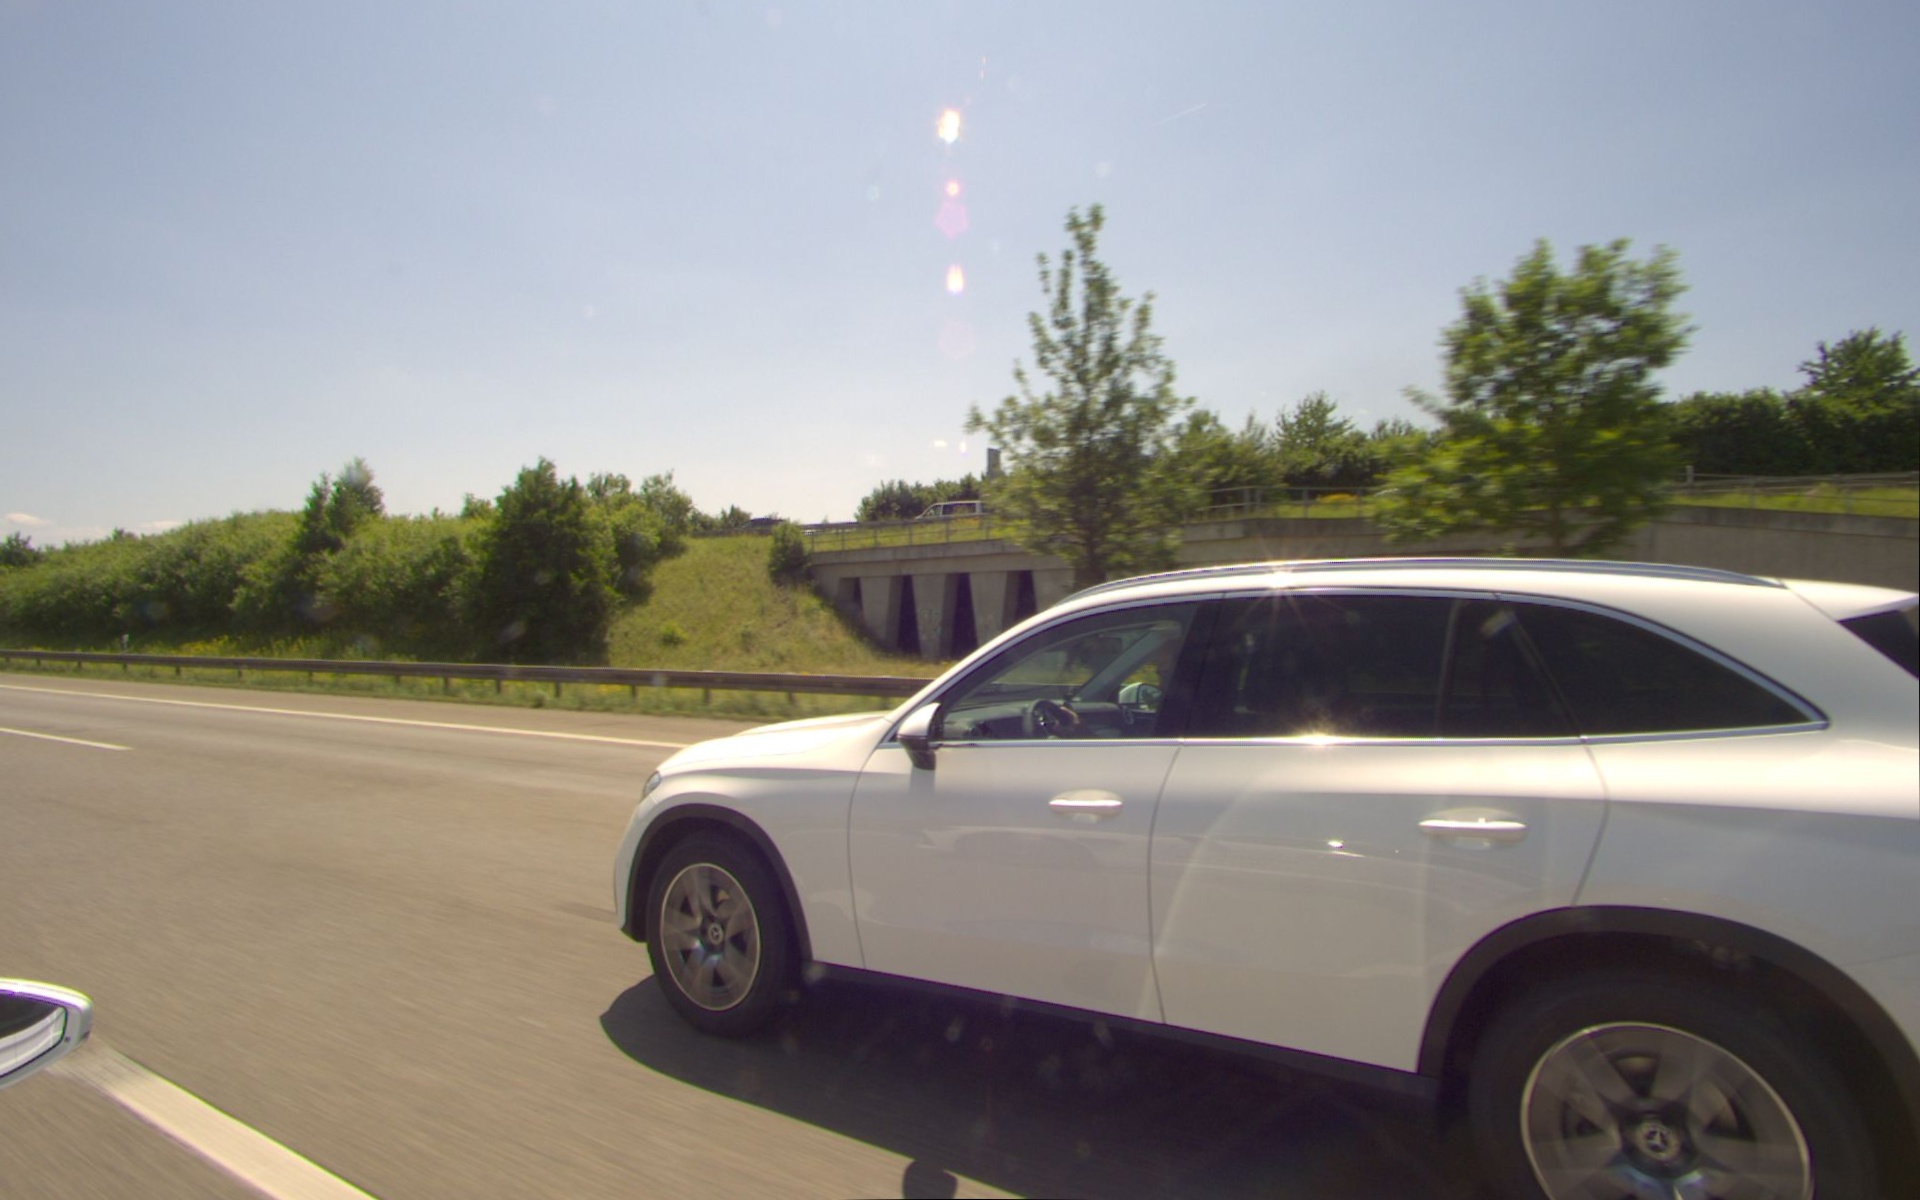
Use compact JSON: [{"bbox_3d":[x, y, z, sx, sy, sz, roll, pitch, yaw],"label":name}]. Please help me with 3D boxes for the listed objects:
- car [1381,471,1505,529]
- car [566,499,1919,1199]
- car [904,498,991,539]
[{"bbox_3d":[19.861,-4.059,41.221,4.460,1.830,1.992,-2,-2,30],"label":"car"},{"bbox_3d":[0.863,0.719,3.520,4.571,1.677,1.901,-2,-2,33],"label":"car"},{"bbox_3d":[-0.709,-4.497,55.793,4.456,1.830,1.993,-1,-2,27],"label":"car"}]
